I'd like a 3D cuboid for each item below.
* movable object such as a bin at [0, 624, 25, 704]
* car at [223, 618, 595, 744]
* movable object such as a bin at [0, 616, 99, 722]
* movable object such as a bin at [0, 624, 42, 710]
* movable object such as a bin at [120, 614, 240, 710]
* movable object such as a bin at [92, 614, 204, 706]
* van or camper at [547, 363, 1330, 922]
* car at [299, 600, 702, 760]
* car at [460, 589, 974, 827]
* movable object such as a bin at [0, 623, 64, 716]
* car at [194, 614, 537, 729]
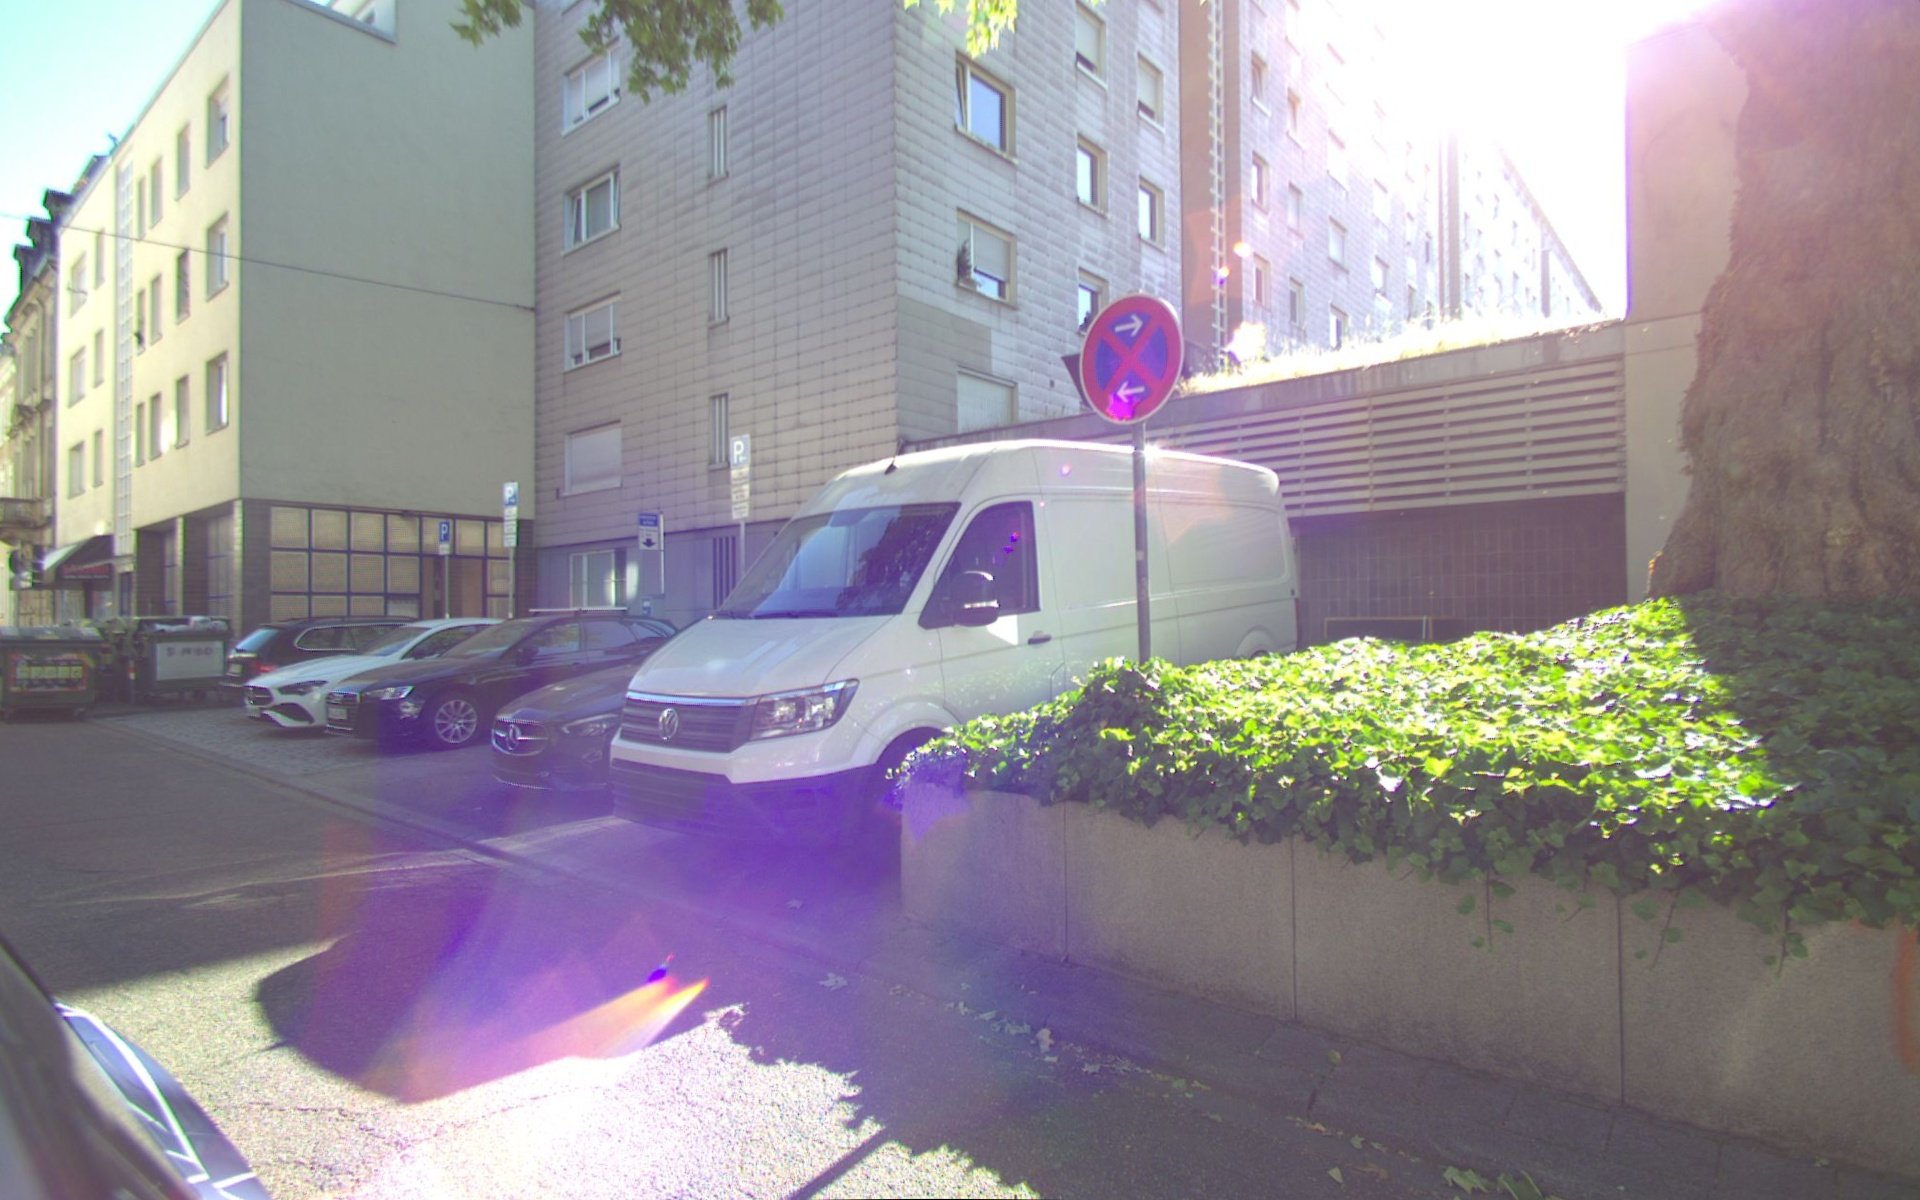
[{"bbox_3d":[-18.876,1.218,19.367,1.558,1.512,1.207,-2,-2,38],"label":"movable object such as a bin"},{"bbox_3d":[-7.515,1.014,14.255,1.595,1.474,4.367,-2,-2,34],"label":"car"},{"bbox_3d":[-14.487,1.040,15.788,1.874,1.512,1.226,-2,-1,37],"label":"movable object such as a bin"},{"bbox_3d":[-17.644,1.205,18.378,1.558,1.512,1.207,-2,-2,38],"label":"movable object such as a bin"},{"bbox_3d":[-12.887,0.990,16.730,1.193,1.512,1.312,-2,-2,38],"label":"movable object such as a bin"},{"bbox_3d":[-14.056,1.007,17.513,1.515,1.512,1.207,-2,-2,38],"label":"movable object such as a bin"},{"bbox_3d":[0.584,0.076,7.948,1.999,2.593,6.835,-2,1,41],"label":"van or camper"},{"bbox_3d":[-5.486,0.862,12.656,1.694,1.629,4.367,-2,-2,34],"label":"car"},{"bbox_3d":[-1.906,0.739,9.146,1.697,1.545,4.361,-2,0,39],"label":"car"},{"bbox_3d":[-16.330,1.163,17.283,1.923,1.512,1.231,-2,-2,38],"label":"movable object such as a bin"},{"bbox_3d":[-9.124,1.013,15.917,1.694,1.545,4.367,-2,-2,34],"label":"car"}]
